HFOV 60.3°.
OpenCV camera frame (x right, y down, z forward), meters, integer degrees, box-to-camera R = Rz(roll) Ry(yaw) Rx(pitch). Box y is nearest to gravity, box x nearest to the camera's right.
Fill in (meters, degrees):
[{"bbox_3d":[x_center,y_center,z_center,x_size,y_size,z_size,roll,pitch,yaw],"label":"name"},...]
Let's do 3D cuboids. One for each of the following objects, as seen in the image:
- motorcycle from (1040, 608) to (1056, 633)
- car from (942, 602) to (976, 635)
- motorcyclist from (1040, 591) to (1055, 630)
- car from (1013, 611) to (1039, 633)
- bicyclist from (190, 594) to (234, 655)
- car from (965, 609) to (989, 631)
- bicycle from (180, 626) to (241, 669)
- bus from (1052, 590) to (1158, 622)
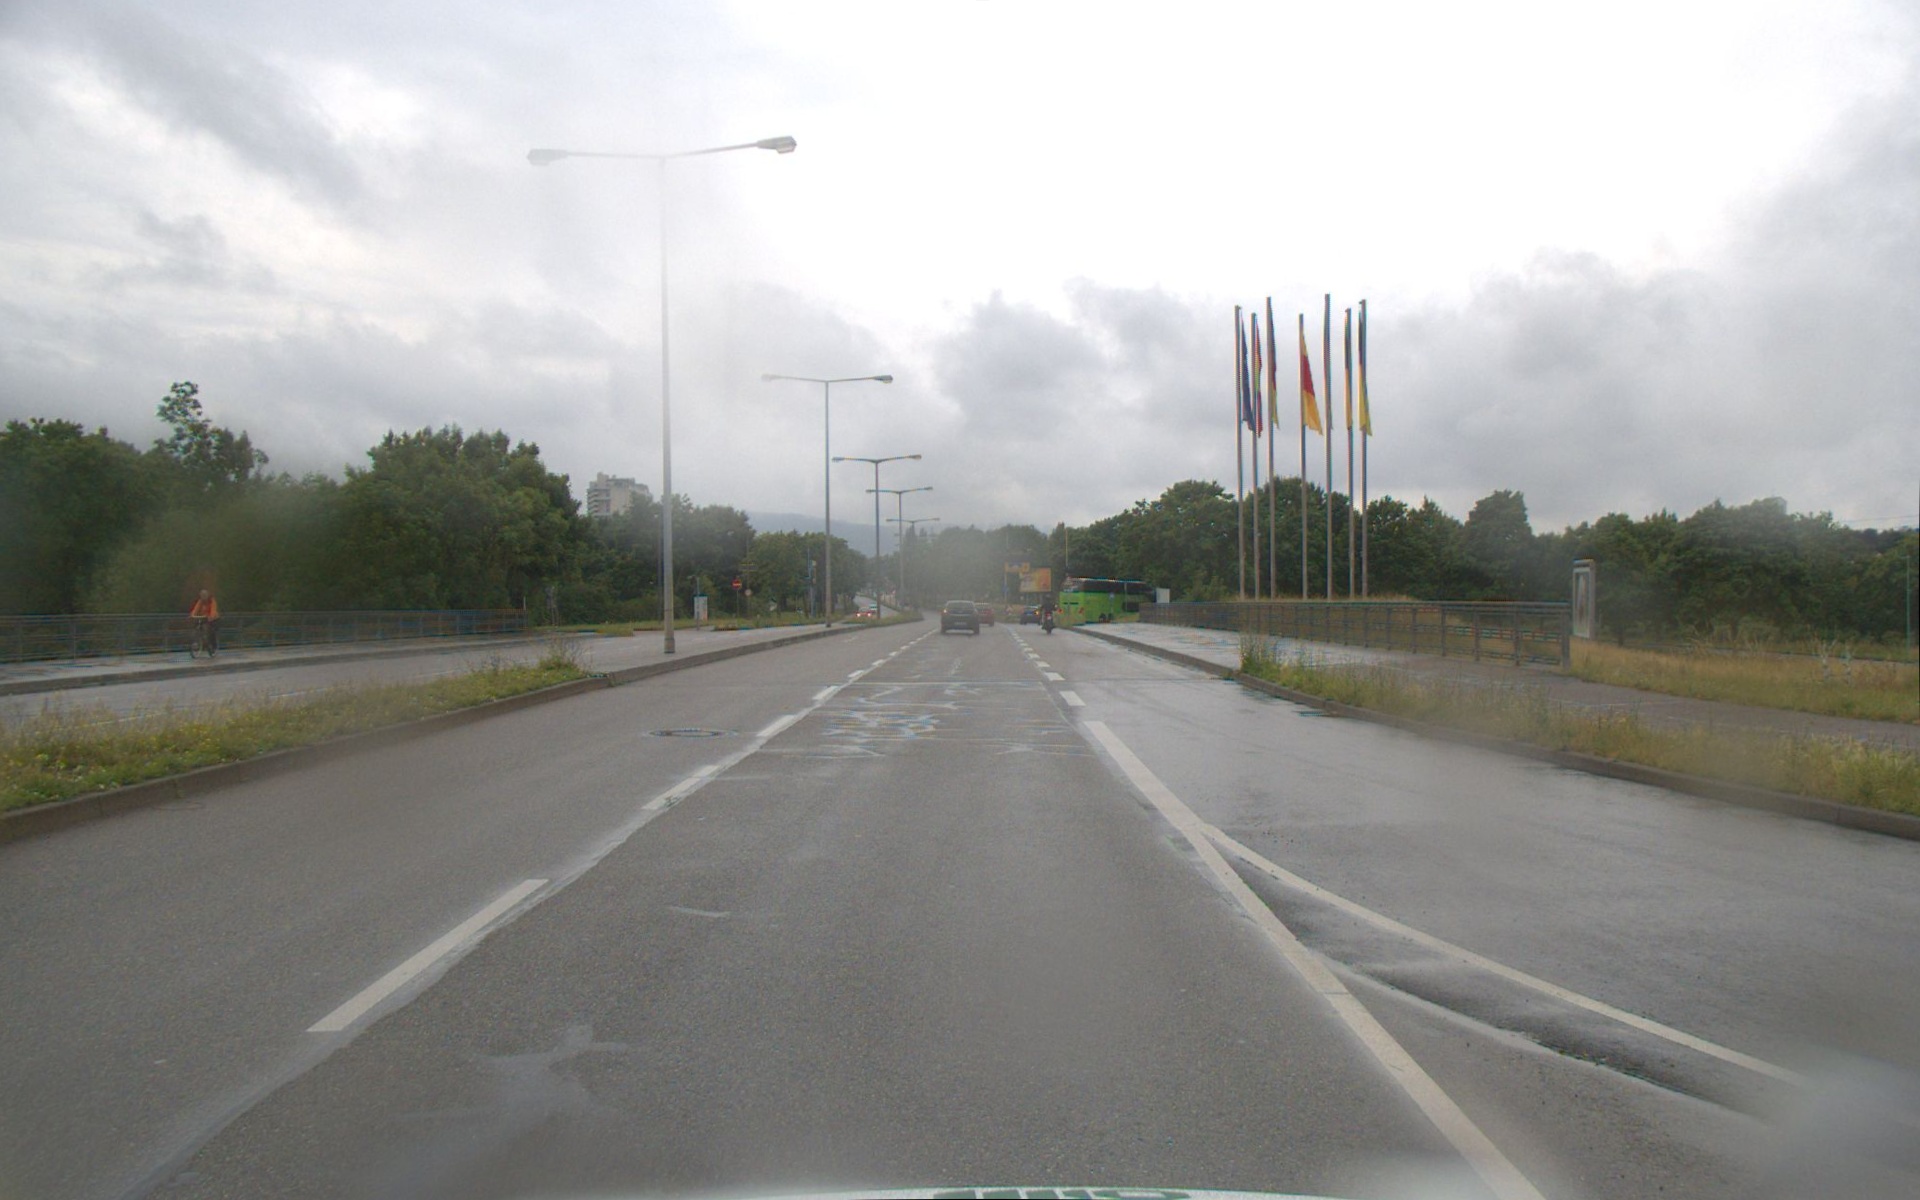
[{"bbox_3d":[3.946,0.913,74.215,0.589,1.112,1.731,0,0,-1],"label":"motorcycle"},{"bbox_3d":[-0.055,0.786,71.730,1.433,1.352,3.757,0,0,-1],"label":"car"},{"bbox_3d":[3.937,0.455,74.199,0.589,1.720,0.860,0,0,-1],"label":"motorcyclist"},{"bbox_3d":[5.265,1.750,132.009,1.817,1.646,3.998,1,-1,-2],"label":"car"},{"bbox_3d":[-19.029,0.620,42.078,0.607,1.526,1.003,1,-1,0],"label":"bicyclist"},{"bbox_3d":[1.087,1.269,105.382,1.433,1.352,3.757,0,0,-1],"label":"car"},{"bbox_3d":[-19.046,1.190,42.068,0.597,1.051,2.001,1,-1,0],"label":"bicycle"},{"bbox_3d":[13.421,0.598,151.335,2.707,2.727,14.539,0,-1,35],"label":"bus"}]
